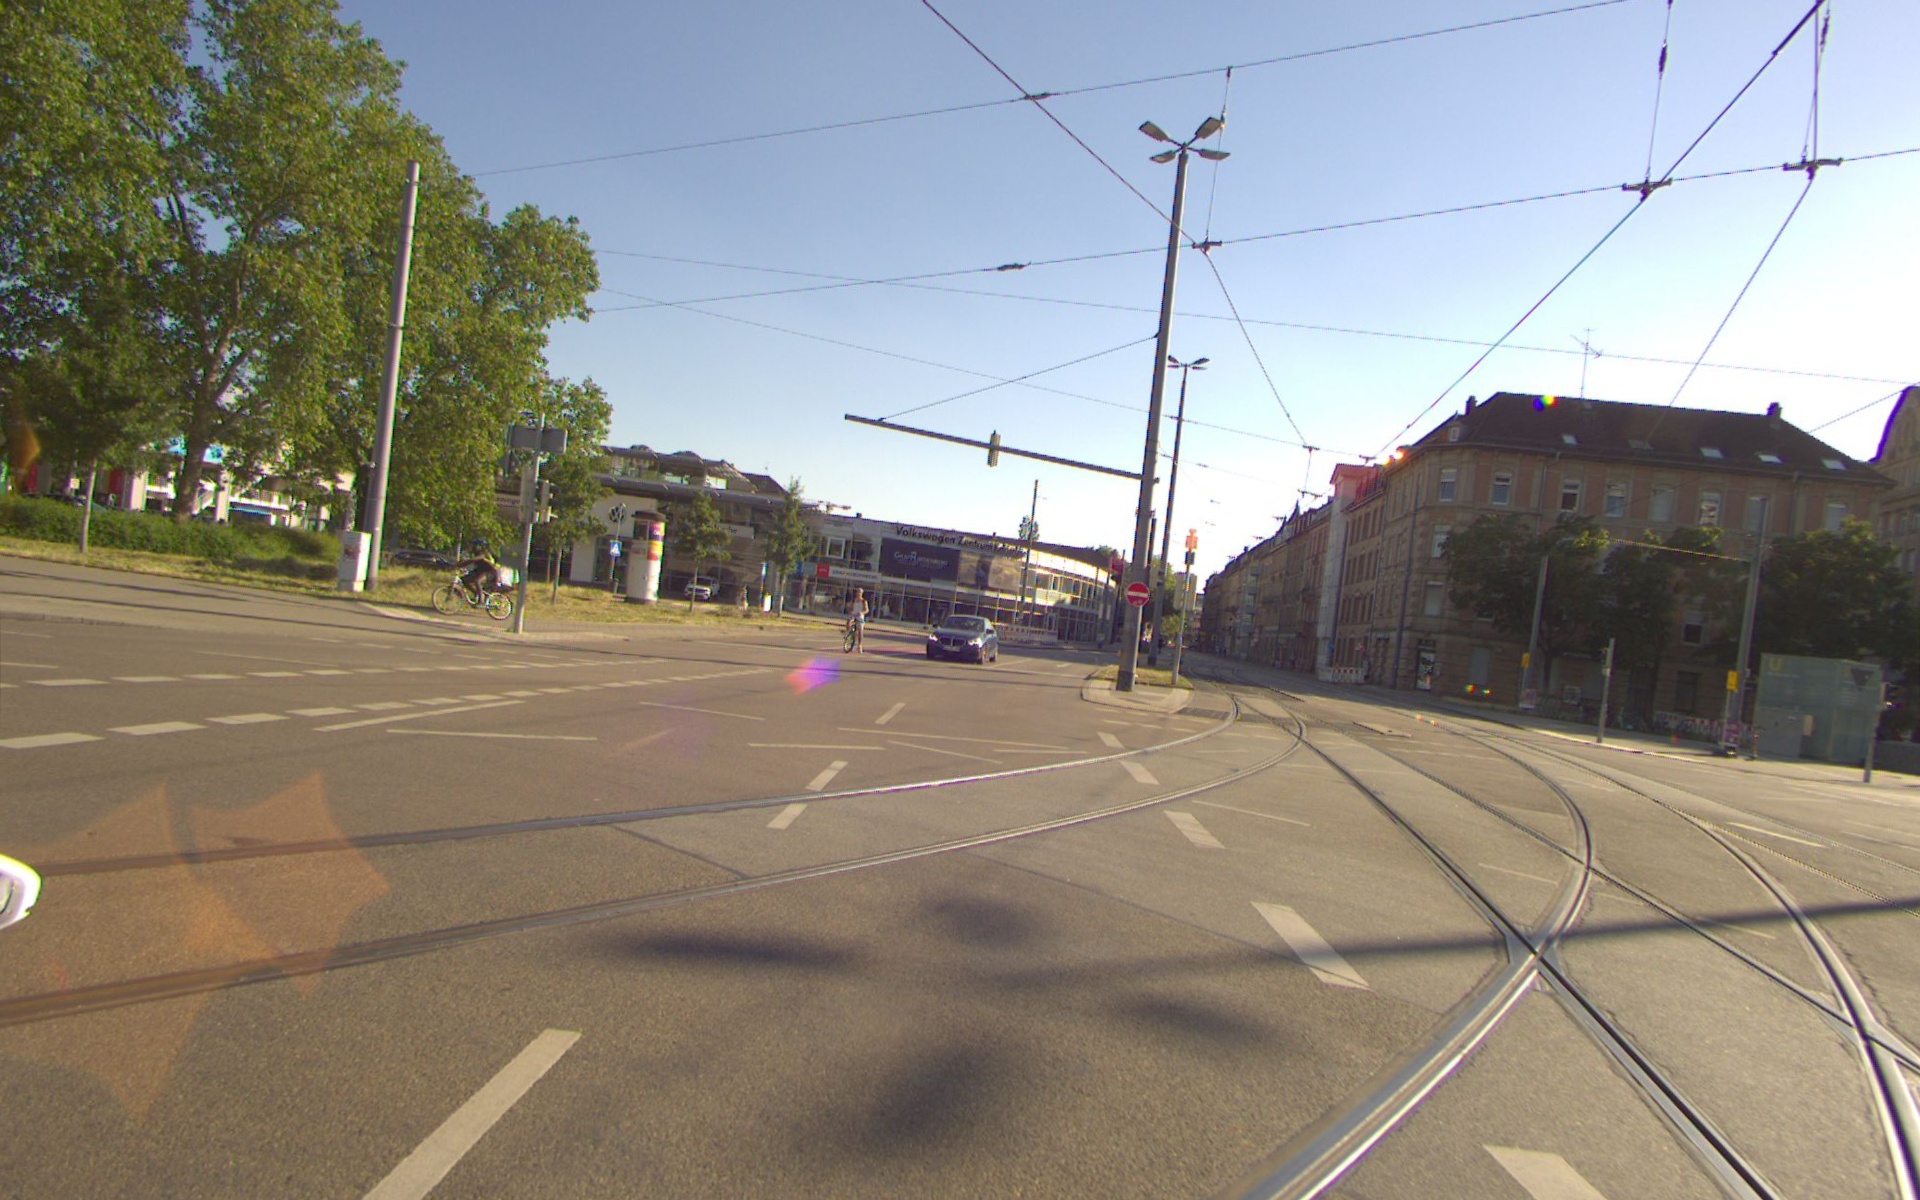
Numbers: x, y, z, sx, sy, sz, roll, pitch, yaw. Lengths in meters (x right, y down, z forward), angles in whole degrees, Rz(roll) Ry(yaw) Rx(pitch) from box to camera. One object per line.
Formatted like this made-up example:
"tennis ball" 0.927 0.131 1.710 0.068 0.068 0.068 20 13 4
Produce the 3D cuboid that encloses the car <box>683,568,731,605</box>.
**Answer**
"car" -17.101 -0.870 68.191 1.965 2.037 3.999 10 -1 -1

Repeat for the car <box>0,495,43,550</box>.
"car" -30.060 -2.477 29.967 3.972 1.528 1.780 6 -3 -43

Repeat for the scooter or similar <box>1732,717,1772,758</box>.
"scooter or similar" 27.517 4.768 34.982 0.718 1.215 1.444 9 0 29

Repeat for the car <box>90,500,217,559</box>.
"car" -36.548 -3.183 45.730 3.953 1.890 1.845 10 0 -24

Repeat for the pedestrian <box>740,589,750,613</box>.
"pedestrian" -12.288 0.043 57.515 0.405 1.331 0.571 7 0 -13

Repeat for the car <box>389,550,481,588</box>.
"car" -29.664 -1.726 56.936 4.093 1.352 1.754 10 0 -1

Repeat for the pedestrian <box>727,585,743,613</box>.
"pedestrian" -12.844 -0.050 57.385 0.712 1.534 0.829 7 0 -13

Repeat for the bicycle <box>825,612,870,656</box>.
"bicycle" -3.275 0.975 29.508 1.015 1.137 2.530 6 0 -2

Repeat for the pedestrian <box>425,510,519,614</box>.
"pedestrian" -10.852 -0.837 22.394 1.016 2.037 1.269 10 0 29

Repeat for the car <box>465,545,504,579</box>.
"car" -31.703 -2.526 66.968 1.784 1.529 3.961 10 3 -32

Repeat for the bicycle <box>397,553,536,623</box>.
"bicycle" -10.949 -0.239 22.431 1.016 1.136 2.529 10 -1 29

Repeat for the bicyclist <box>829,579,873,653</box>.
"bicyclist" -3.192 0.473 29.497 1.015 2.039 1.144 5 0 -2

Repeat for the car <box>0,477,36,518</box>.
"car" -49.106 -5.393 50.106 3.950 1.800 1.847 10 0 -22

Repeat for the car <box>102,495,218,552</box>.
"car" -39.735 -3.793 50.096 3.953 2.022 1.845 10 0 -24

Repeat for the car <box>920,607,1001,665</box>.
"car" 0.088 1.118 31.844 1.962 1.470 4.003 7 -1 7
